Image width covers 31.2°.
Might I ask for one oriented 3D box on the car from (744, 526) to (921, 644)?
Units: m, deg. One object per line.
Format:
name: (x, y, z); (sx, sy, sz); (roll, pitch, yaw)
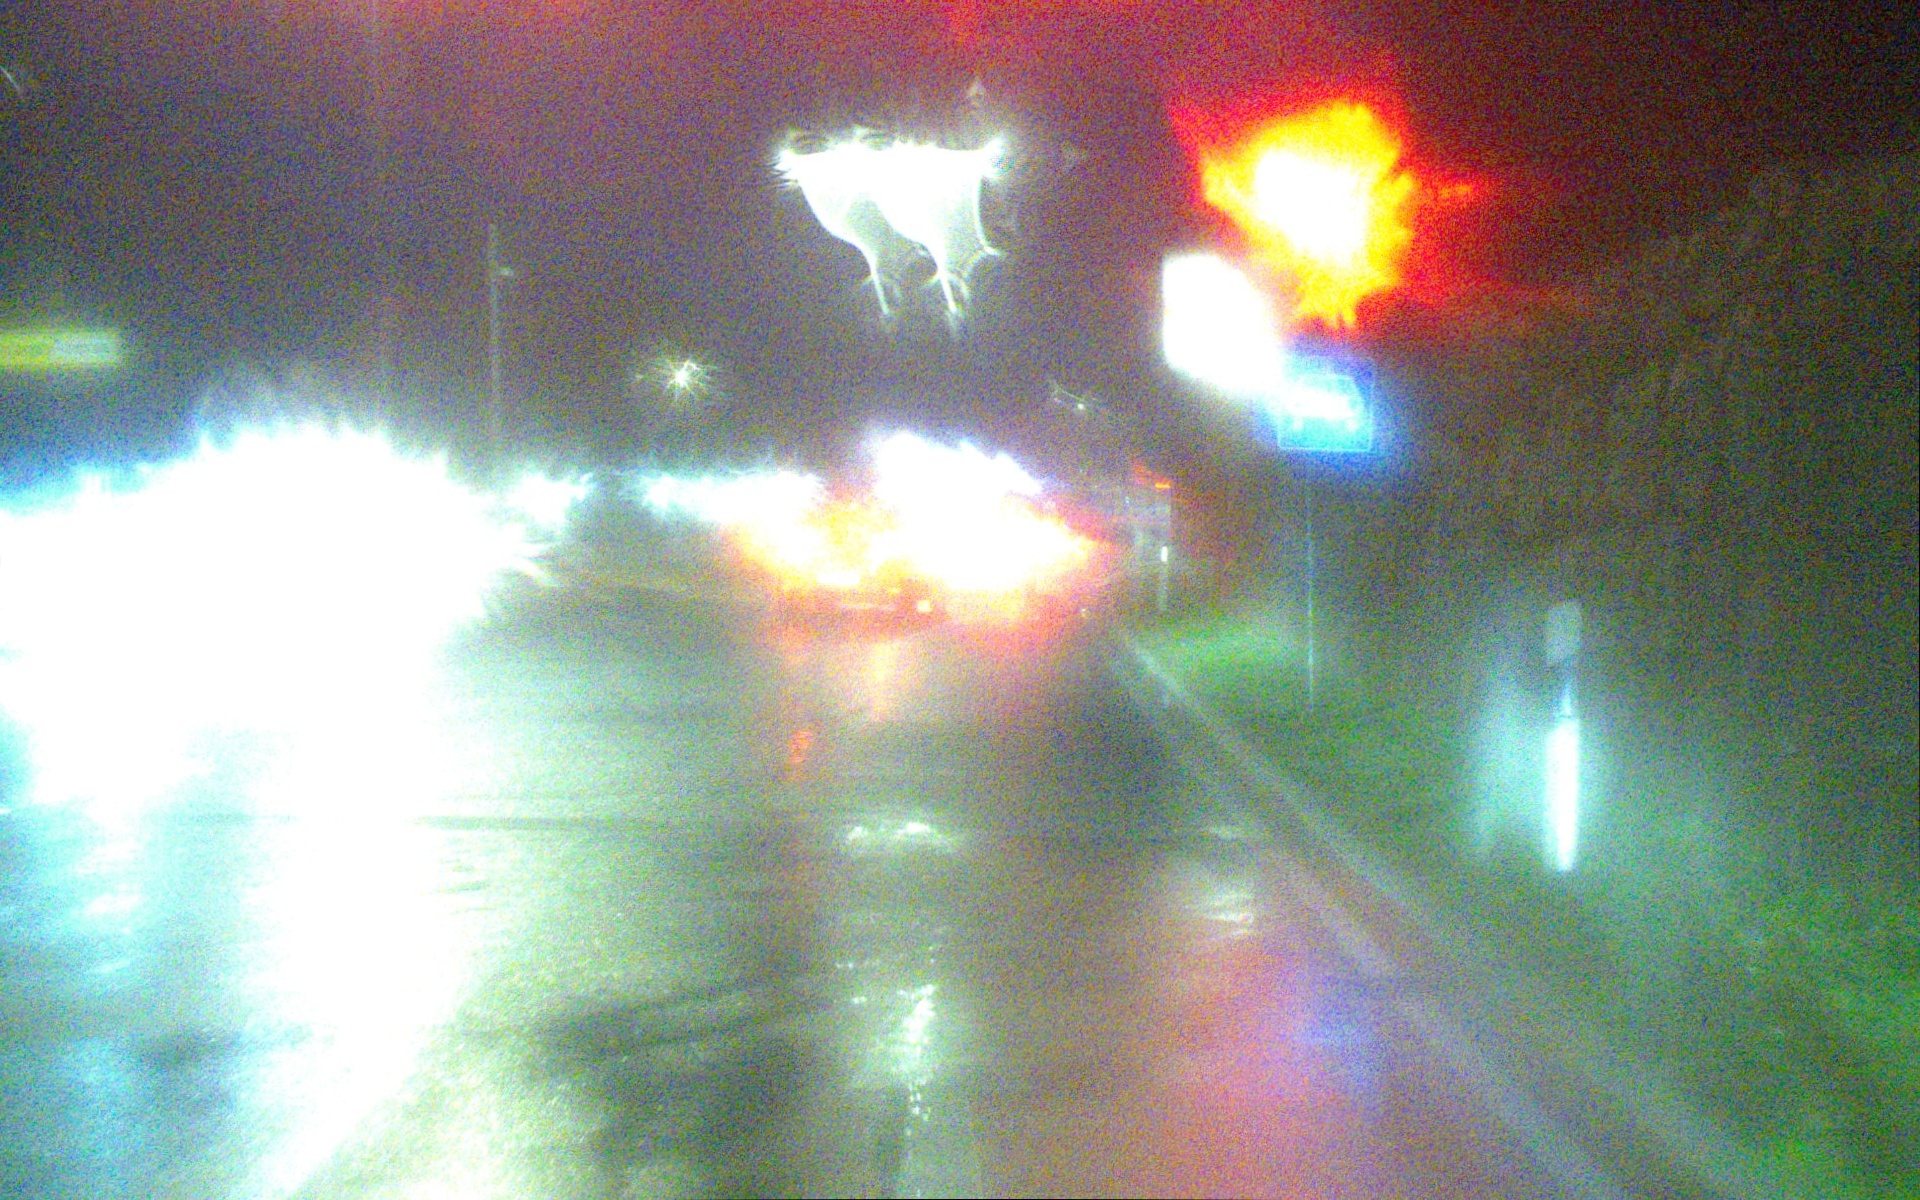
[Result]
car: (-1.602, -0.204, 44.483); (2.103, 1.434, 4.000); (1, 1, 0)

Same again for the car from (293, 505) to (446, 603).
car: (-9.478, -0.733, 55.422); (1.585, 1.520, 3.651); (1, 1, 4)

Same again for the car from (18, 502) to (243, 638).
car: (-10.211, -0.410, 42.638); (1.699, 1.566, 4.712); (1, 1, -1)

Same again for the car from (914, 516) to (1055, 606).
car: (0.384, -0.602, 53.777); (2.107, 1.335, 4.294); (1, 1, 0)

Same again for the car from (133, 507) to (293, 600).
car: (-12.868, -0.796, 59.445); (1.993, 1.525, 4.000); (1, 1, -2)
